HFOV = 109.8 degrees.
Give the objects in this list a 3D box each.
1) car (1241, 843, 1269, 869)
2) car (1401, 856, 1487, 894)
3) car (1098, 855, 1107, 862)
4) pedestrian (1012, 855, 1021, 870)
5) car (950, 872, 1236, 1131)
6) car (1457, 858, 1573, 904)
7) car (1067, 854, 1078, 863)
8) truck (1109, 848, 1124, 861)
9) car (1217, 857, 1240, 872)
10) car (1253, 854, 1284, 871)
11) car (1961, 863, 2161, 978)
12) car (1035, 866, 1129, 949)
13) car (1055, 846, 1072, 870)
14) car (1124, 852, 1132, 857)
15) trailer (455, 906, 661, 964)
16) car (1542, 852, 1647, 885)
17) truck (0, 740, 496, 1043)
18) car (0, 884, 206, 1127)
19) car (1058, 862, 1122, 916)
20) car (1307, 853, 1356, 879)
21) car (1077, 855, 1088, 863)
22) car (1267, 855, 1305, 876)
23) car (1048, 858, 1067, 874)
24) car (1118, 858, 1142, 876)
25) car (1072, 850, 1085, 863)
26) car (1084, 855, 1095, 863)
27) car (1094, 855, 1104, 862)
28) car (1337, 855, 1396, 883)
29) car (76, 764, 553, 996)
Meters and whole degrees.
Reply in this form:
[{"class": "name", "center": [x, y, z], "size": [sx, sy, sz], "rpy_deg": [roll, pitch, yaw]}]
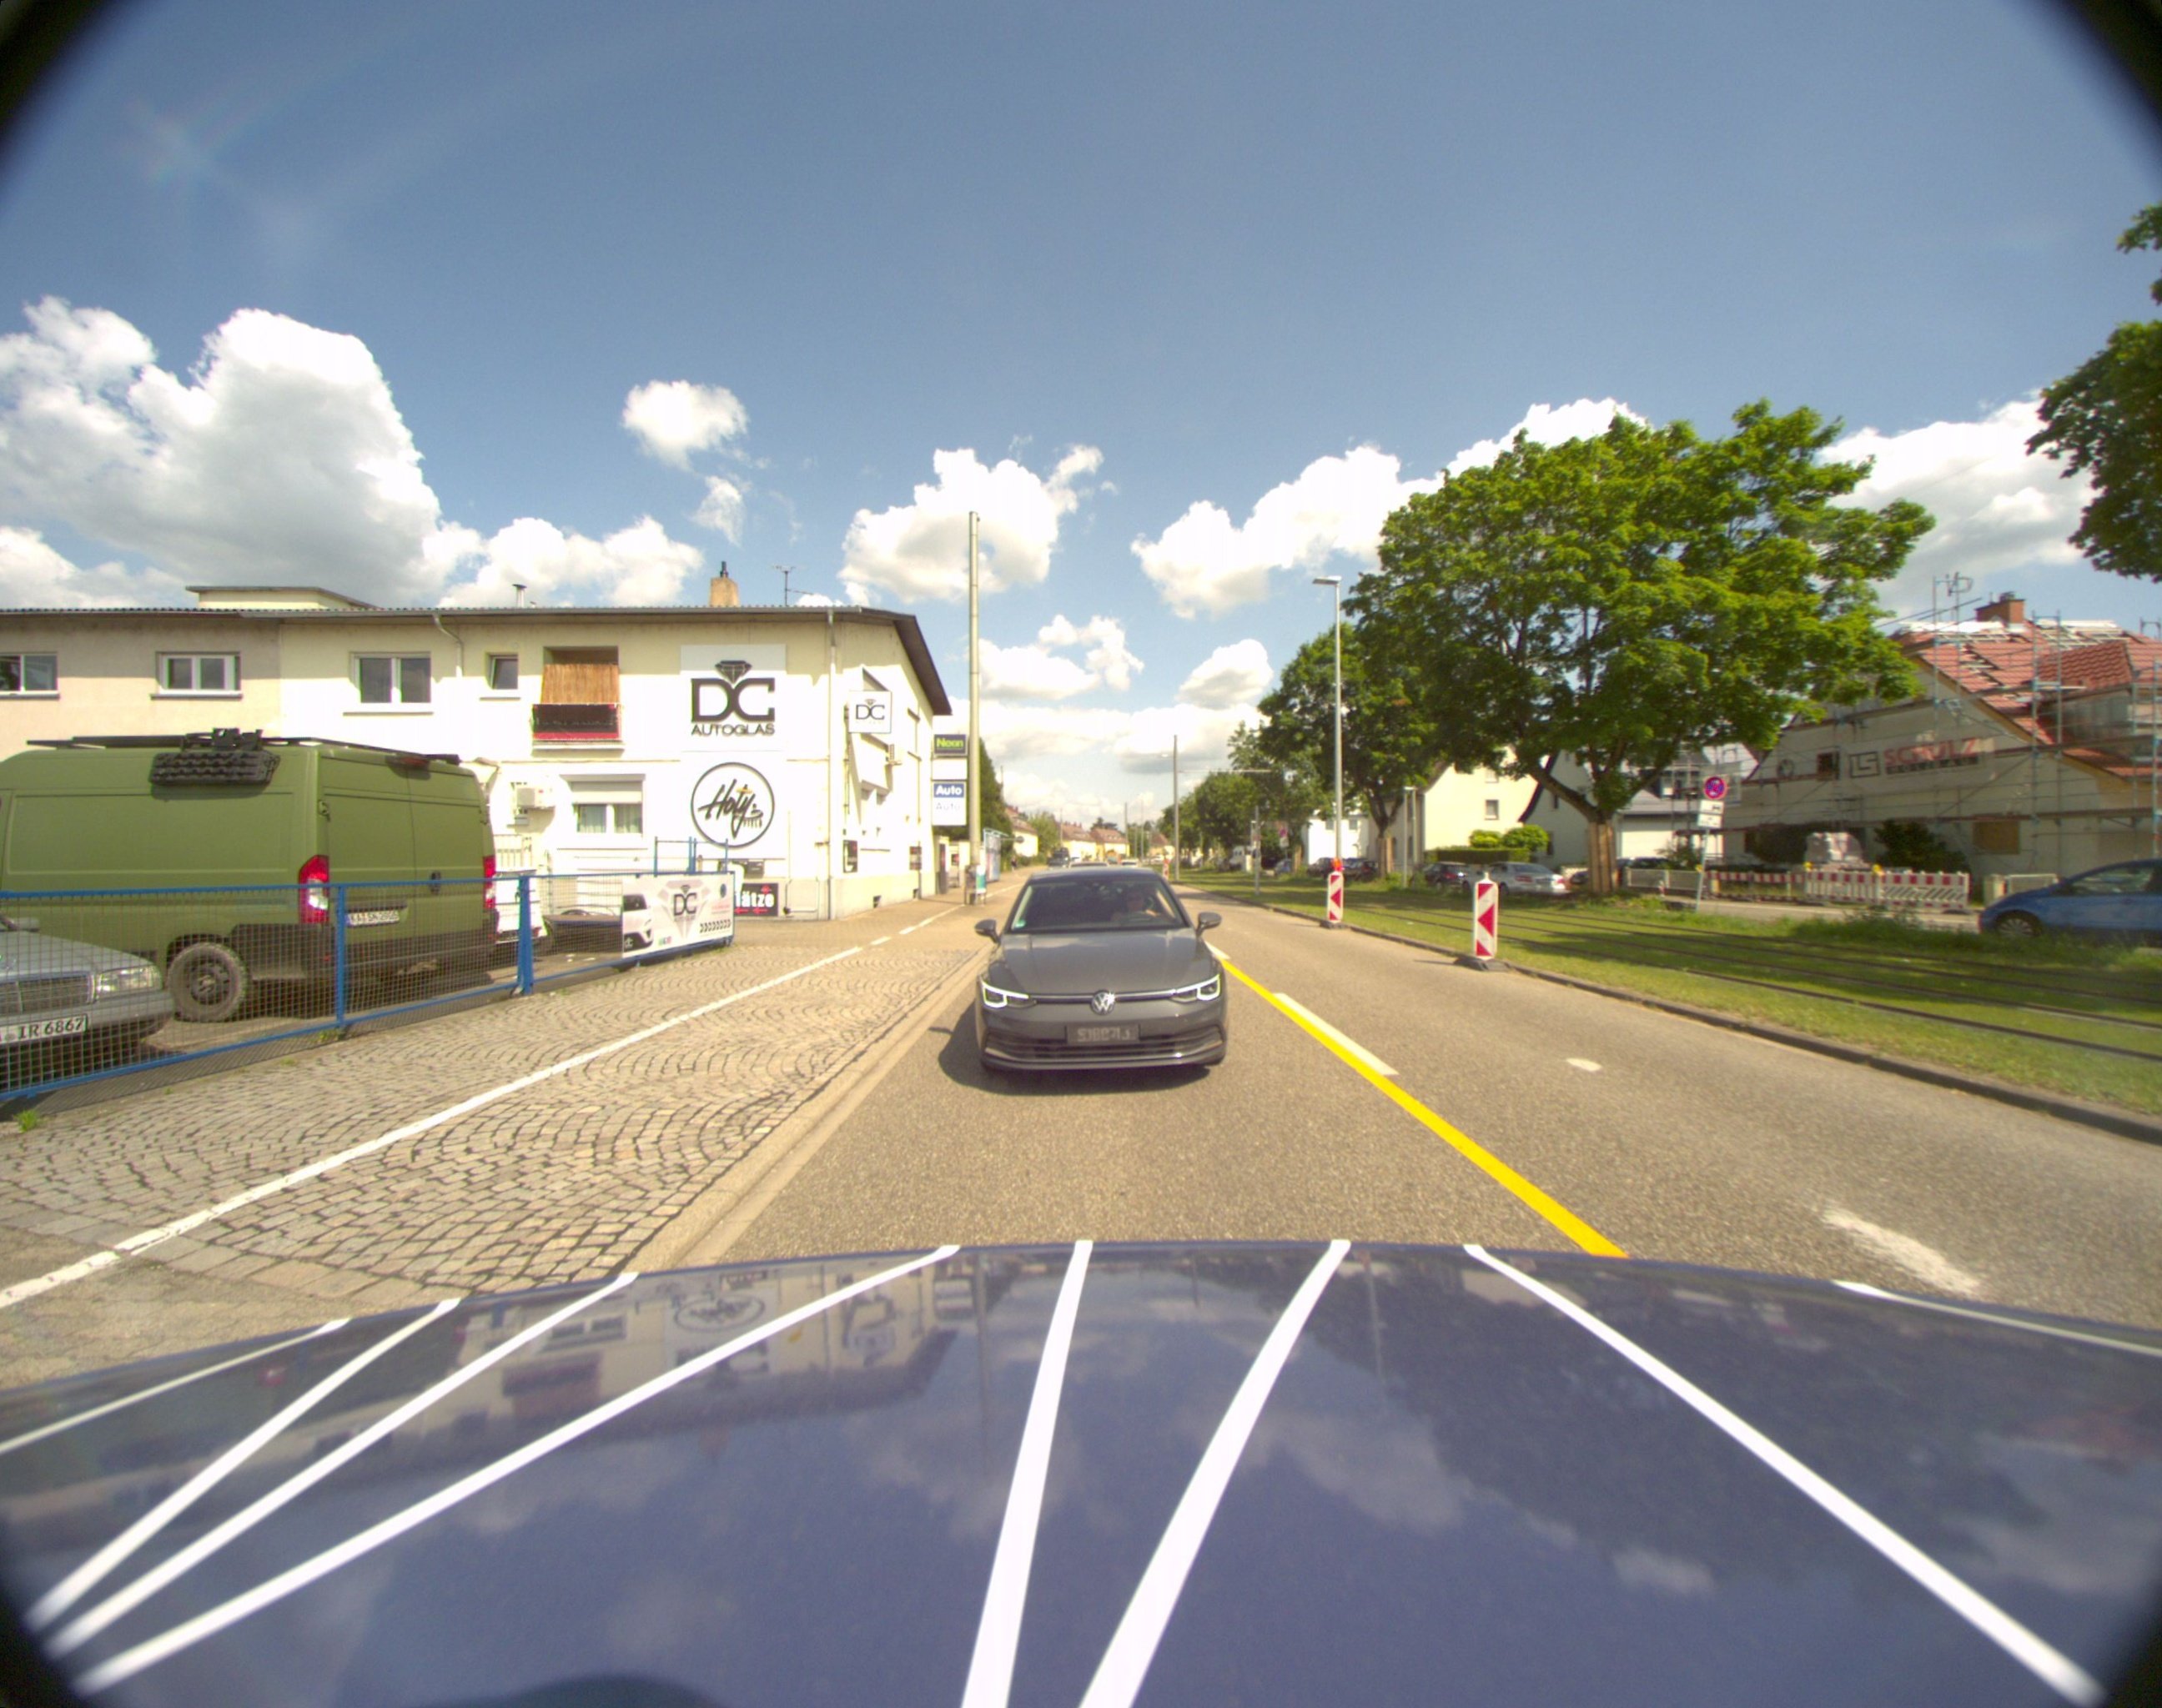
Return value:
[{"class": "car", "center": [17.616, 0.205, 77.009], "size": [1.755, 2.601, 4.606], "rpy_deg": [0, 0, 0]}, {"class": "car", "center": [16.590, 0.922, 35.025], "size": [1.755, 1.602, 4.606], "rpy_deg": [0, 0, 0]}, {"class": "car", "center": [5.185, 1.013, 179.082], "size": [1.718, 1.470, 4.011], "rpy_deg": [0, 0, 8]}, {"class": "pedestrian", "center": [-6.773, 0.901, 79.680], "size": [0.816, 1.577, 0.918], "rpy_deg": [0, 0, 1]}, {"class": "car", "center": [0.099, 0.940, 6.592], "size": [1.719, 1.470, 4.009], "rpy_deg": [0, 0, 1]}, {"class": "car", "center": [16.389, 0.969, 29.002], "size": [1.755, 1.602, 4.606], "rpy_deg": [0, 0, 0]}, {"class": "car", "center": [-1.360, 0.750, 122.955], "size": [1.720, 1.470, 4.009], "rpy_deg": [0, 0, 0]}, {"class": "truck", "center": [9.414, 0.039, 201.131], "size": [2.590, 3.431, 8.585], "rpy_deg": [0, 0, 11]}, {"class": "car", "center": [16.935, 1.161, 87.265], "size": [1.755, 1.602, 4.606], "rpy_deg": [0, 0, 0]}, {"class": "car", "center": [17.587, 0.763, 71.491], "size": [1.755, 1.602, 4.606], "rpy_deg": [0, 0, 0]}, {"class": "car", "center": [16.238, 0.962, 11.228], "size": [1.755, 1.602, 4.050], "rpy_deg": [0, 0, 0]}, {"class": "car", "center": [0.041, 1.010, 15.899], "size": [1.719, 1.470, 4.009], "rpy_deg": [0, 0, 1]}, {"class": "car", "center": [-1.915, 0.419, 82.845], "size": [1.720, 2.526, 5.794], "rpy_deg": [0, 0, 0]}, {"class": "car", "center": [13.541, 0.254, 218.473], "size": [1.718, 1.470, 4.013], "rpy_deg": [0, 0, 13]}, {"class": "trailer", "center": [-8.063, 1.241, 11.833], "size": [2.329, 0.762, 1.269], "rpy_deg": [0, 0, 2]}, {"class": "car", "center": [25.512, 0.726, 37.827], "size": [4.047, 1.602, 1.757], "rpy_deg": [0, 0, 1]}, {"class": "truck", "center": [-8.624, 0.331, 7.563], "size": [3.997, 2.592, 2.069], "rpy_deg": [0, 0, 1]}, {"class": "car", "center": [-8.438, 0.920, 4.806], "size": [4.206, 1.388, 1.804], "rpy_deg": [0, 0, 8]}, {"class": "car", "center": [0.283, 0.993, 23.168], "size": [1.787, 1.470, 4.009], "rpy_deg": [0, 0, 1]}, {"class": "car", "center": [16.680, 0.770, 50.903], "size": [1.755, 1.602, 4.606], "rpy_deg": [0, 0, 0]}, {"class": "car", "center": [0.346, 1.000, 146.550], "size": [1.719, 1.470, 4.011], "rpy_deg": [0, 0, 6]}, {"class": "car", "center": [16.497, 0.924, 61.352], "size": [1.755, 1.602, 4.606], "rpy_deg": [0, 0, 0]}, {"class": "car", "center": [-2.158, 1.074, 70.983], "size": [1.720, 1.470, 4.009], "rpy_deg": [0, 0, 0]}, {"class": "car", "center": [3.975, 1.004, 61.716], "size": [1.719, 1.405, 4.262], "rpy_deg": [0, 0, 1]}, {"class": "car", "center": [-0.423, 0.412, 136.319], "size": [1.719, 2.360, 5.211], "rpy_deg": [0, 0, 5]}, {"class": "car", "center": [1.821, 1.002, 155.298], "size": [1.718, 1.470, 4.011], "rpy_deg": [0, 0, 8]}, {"class": "car", "center": [4.112, 1.010, 172.732], "size": [1.718, 1.470, 4.011], "rpy_deg": [0, 0, 8]}, {"class": "car", "center": [16.902, 0.856, 45.263], "size": [1.755, 1.602, 4.606], "rpy_deg": [0, 0, 0]}, {"class": "car", "center": [-9.455, 0.305, 9.648], "size": [4.209, 2.653, 1.803], "rpy_deg": [0, 0, 0]}]
